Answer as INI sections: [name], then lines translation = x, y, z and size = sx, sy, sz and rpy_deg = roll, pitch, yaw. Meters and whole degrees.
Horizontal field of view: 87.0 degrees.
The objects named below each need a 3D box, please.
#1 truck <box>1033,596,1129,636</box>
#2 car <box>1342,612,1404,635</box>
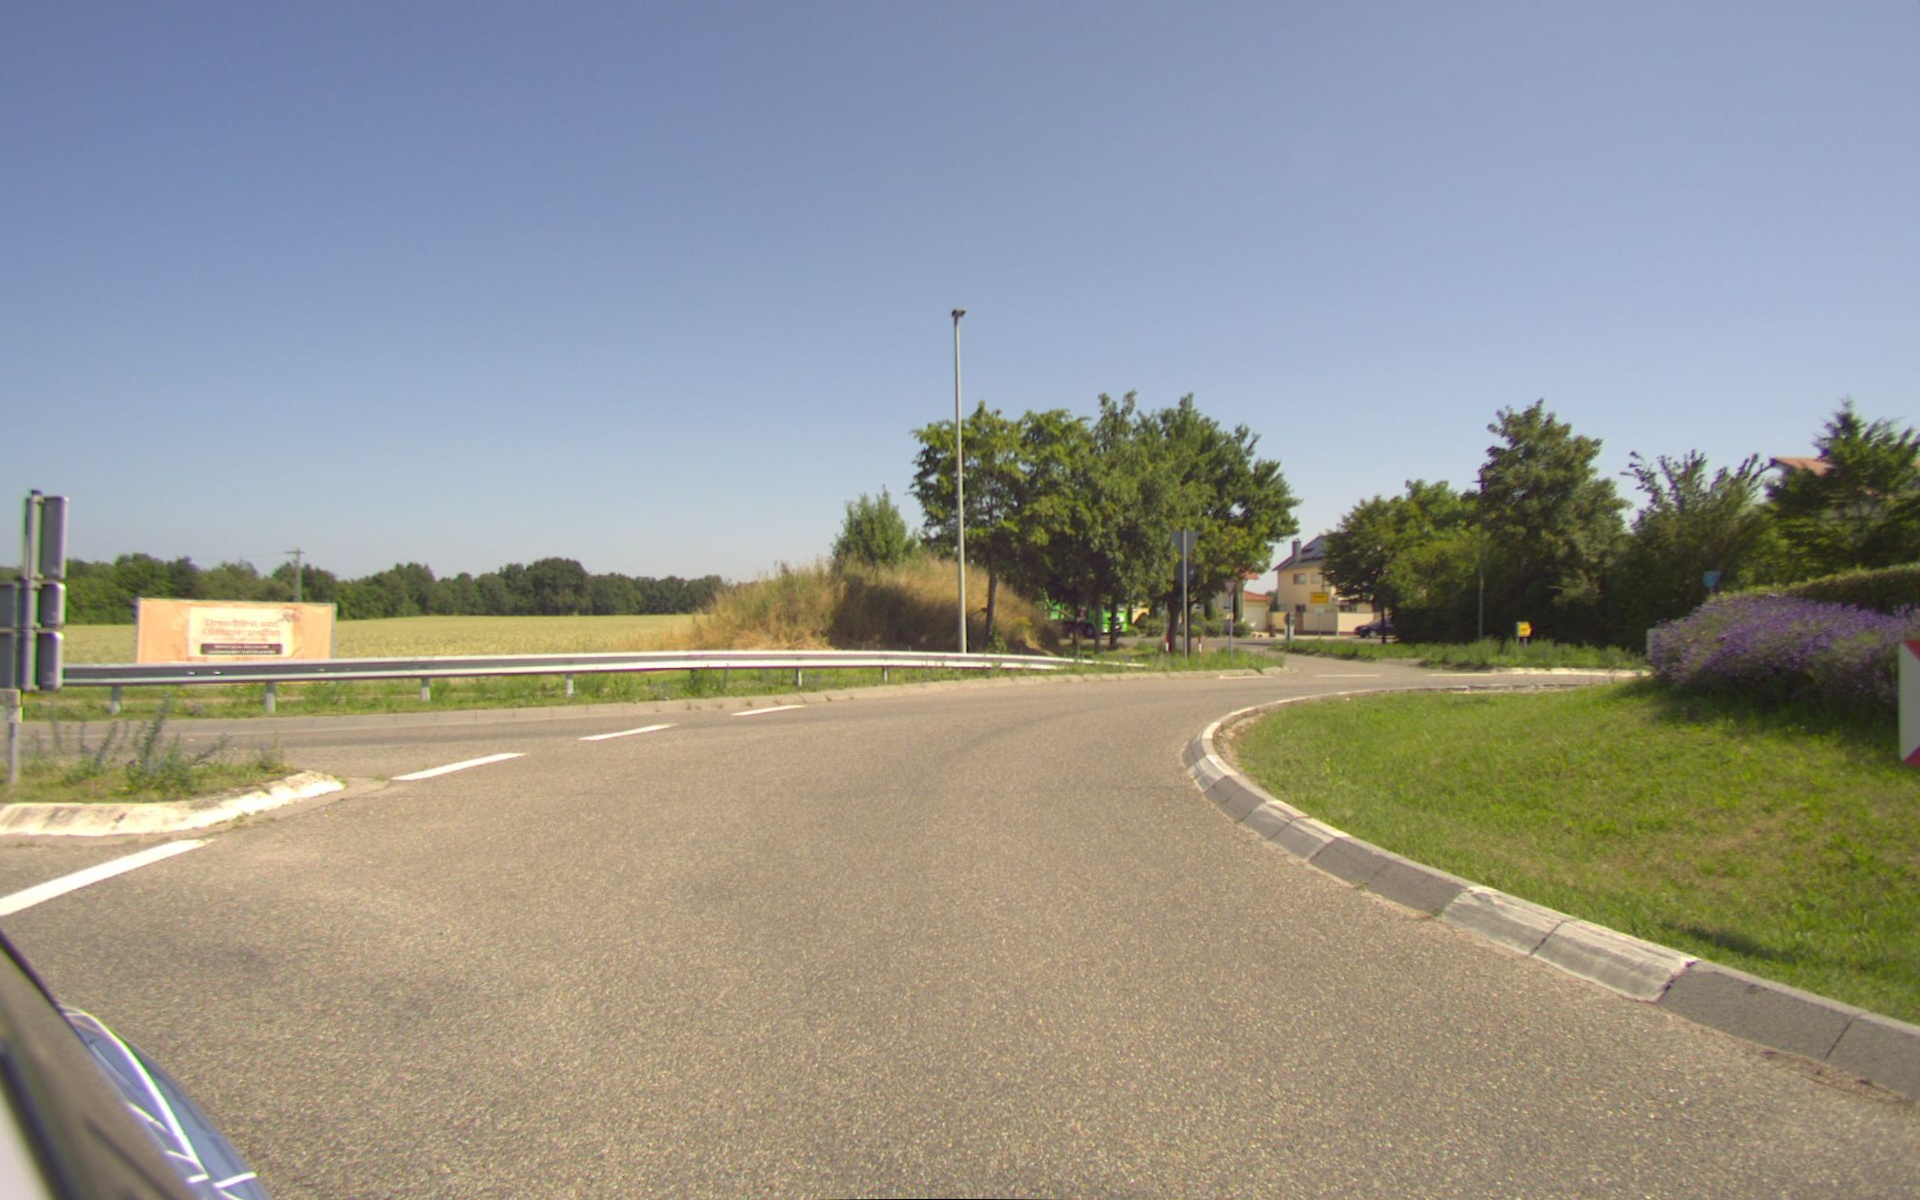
[truck]
translation = 8.535, 1.099, 72.345
size = 2.479, 2.669, 7.709
rpy_deg = 0, 0, -32
[car]
translation = 28.908, 1.657, 70.882
size = 3.675, 1.515, 1.612
rpy_deg = 0, 0, -4
